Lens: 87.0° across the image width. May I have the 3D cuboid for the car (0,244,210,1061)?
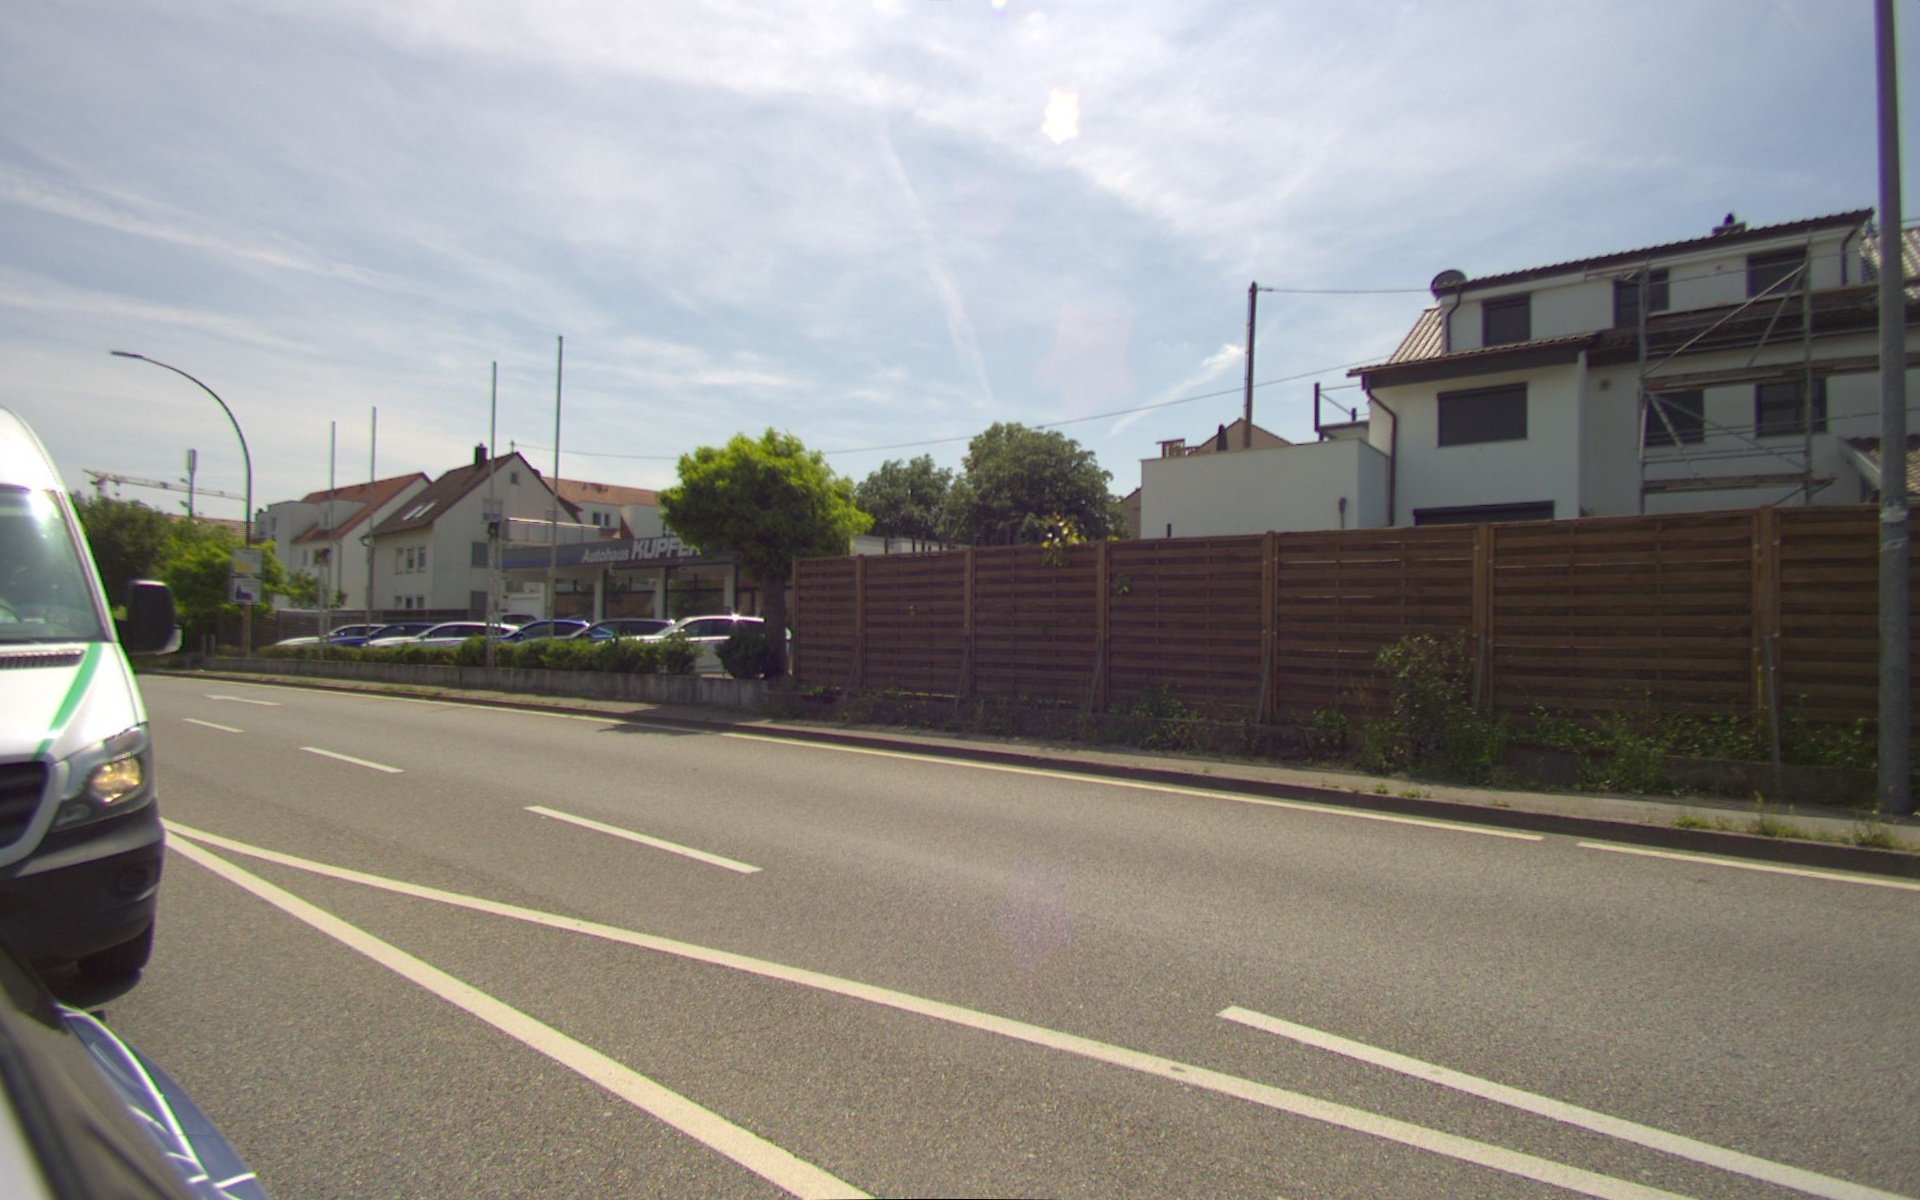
[{"bbox_3d":[-5.506,0.232,4.717,5.628,2.619,1.953,-2,-1,40],"label":"car"}]

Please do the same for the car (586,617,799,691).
[{"bbox_3d":[-5.902,1.136,22.368,4.264,1.471,1.861,0,-1,-26],"label":"car"}]

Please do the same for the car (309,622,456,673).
[{"bbox_3d":[-18.576,1.506,32.778,3.930,1.475,2.006,-1,-1,-24],"label":"car"}]

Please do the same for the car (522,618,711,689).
[{"bbox_3d":[-8.489,1.269,25.050,4.187,1.557,1.856,-1,-1,-27],"label":"car"}]

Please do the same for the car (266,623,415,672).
[{"bbox_3d":[-21.525,1.607,35.370,4.192,1.541,2.006,-1,-1,-24],"label":"car"}]

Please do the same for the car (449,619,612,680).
[{"bbox_3d":[-11.620,1.299,27.478,3.931,1.453,1.860,-1,-1,-25],"label":"car"}]

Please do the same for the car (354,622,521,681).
[{"bbox_3d":[-15.310,1.477,29.934,4.238,1.530,2.006,-1,-1,-23],"label":"car"}]
